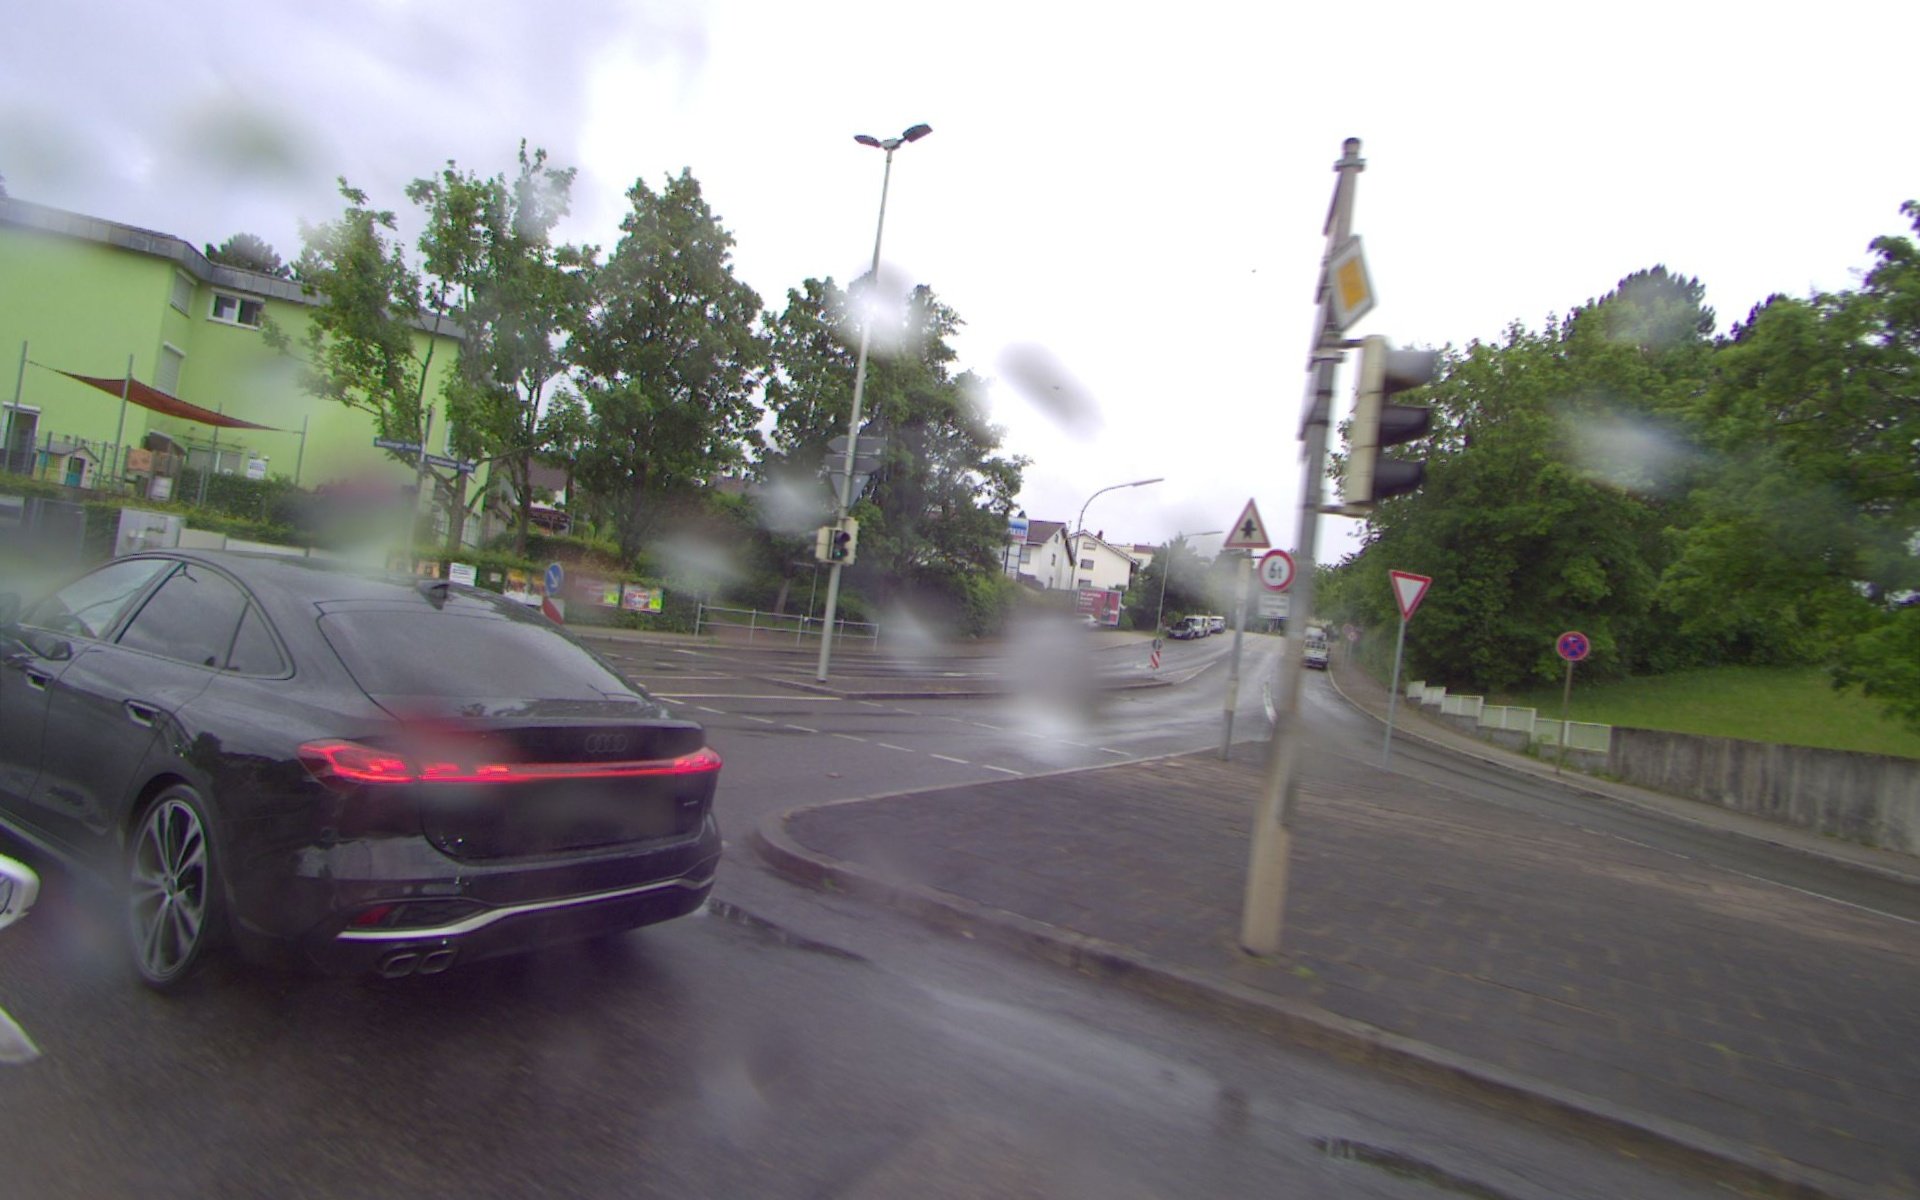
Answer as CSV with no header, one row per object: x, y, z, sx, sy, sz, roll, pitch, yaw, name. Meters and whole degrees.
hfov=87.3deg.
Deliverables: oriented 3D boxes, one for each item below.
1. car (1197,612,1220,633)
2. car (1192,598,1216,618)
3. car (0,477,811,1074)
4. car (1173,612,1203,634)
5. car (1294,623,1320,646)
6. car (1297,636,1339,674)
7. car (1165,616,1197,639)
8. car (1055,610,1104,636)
29.471,2.630,119.240,1.963,2.048,3.996,13,4,19,car
27.511,0.896,113.293,1.963,1.747,3.996,13,4,19,car
-3.021,0.385,4.559,4.433,1.443,1.710,8,-2,31,car
20.747,2.065,91.597,1.963,1.496,3.996,13,4,19,car
36.170,3.594,105.010,1.963,1.684,3.994,13,6,14,car
23.419,3.577,65.933,1.963,1.684,3.994,13,6,14,car
18.959,2.350,86.077,1.963,1.527,3.996,13,4,19,car
9.660,1.860,81.328,3.650,1.838,1.841,3,-1,15,car
